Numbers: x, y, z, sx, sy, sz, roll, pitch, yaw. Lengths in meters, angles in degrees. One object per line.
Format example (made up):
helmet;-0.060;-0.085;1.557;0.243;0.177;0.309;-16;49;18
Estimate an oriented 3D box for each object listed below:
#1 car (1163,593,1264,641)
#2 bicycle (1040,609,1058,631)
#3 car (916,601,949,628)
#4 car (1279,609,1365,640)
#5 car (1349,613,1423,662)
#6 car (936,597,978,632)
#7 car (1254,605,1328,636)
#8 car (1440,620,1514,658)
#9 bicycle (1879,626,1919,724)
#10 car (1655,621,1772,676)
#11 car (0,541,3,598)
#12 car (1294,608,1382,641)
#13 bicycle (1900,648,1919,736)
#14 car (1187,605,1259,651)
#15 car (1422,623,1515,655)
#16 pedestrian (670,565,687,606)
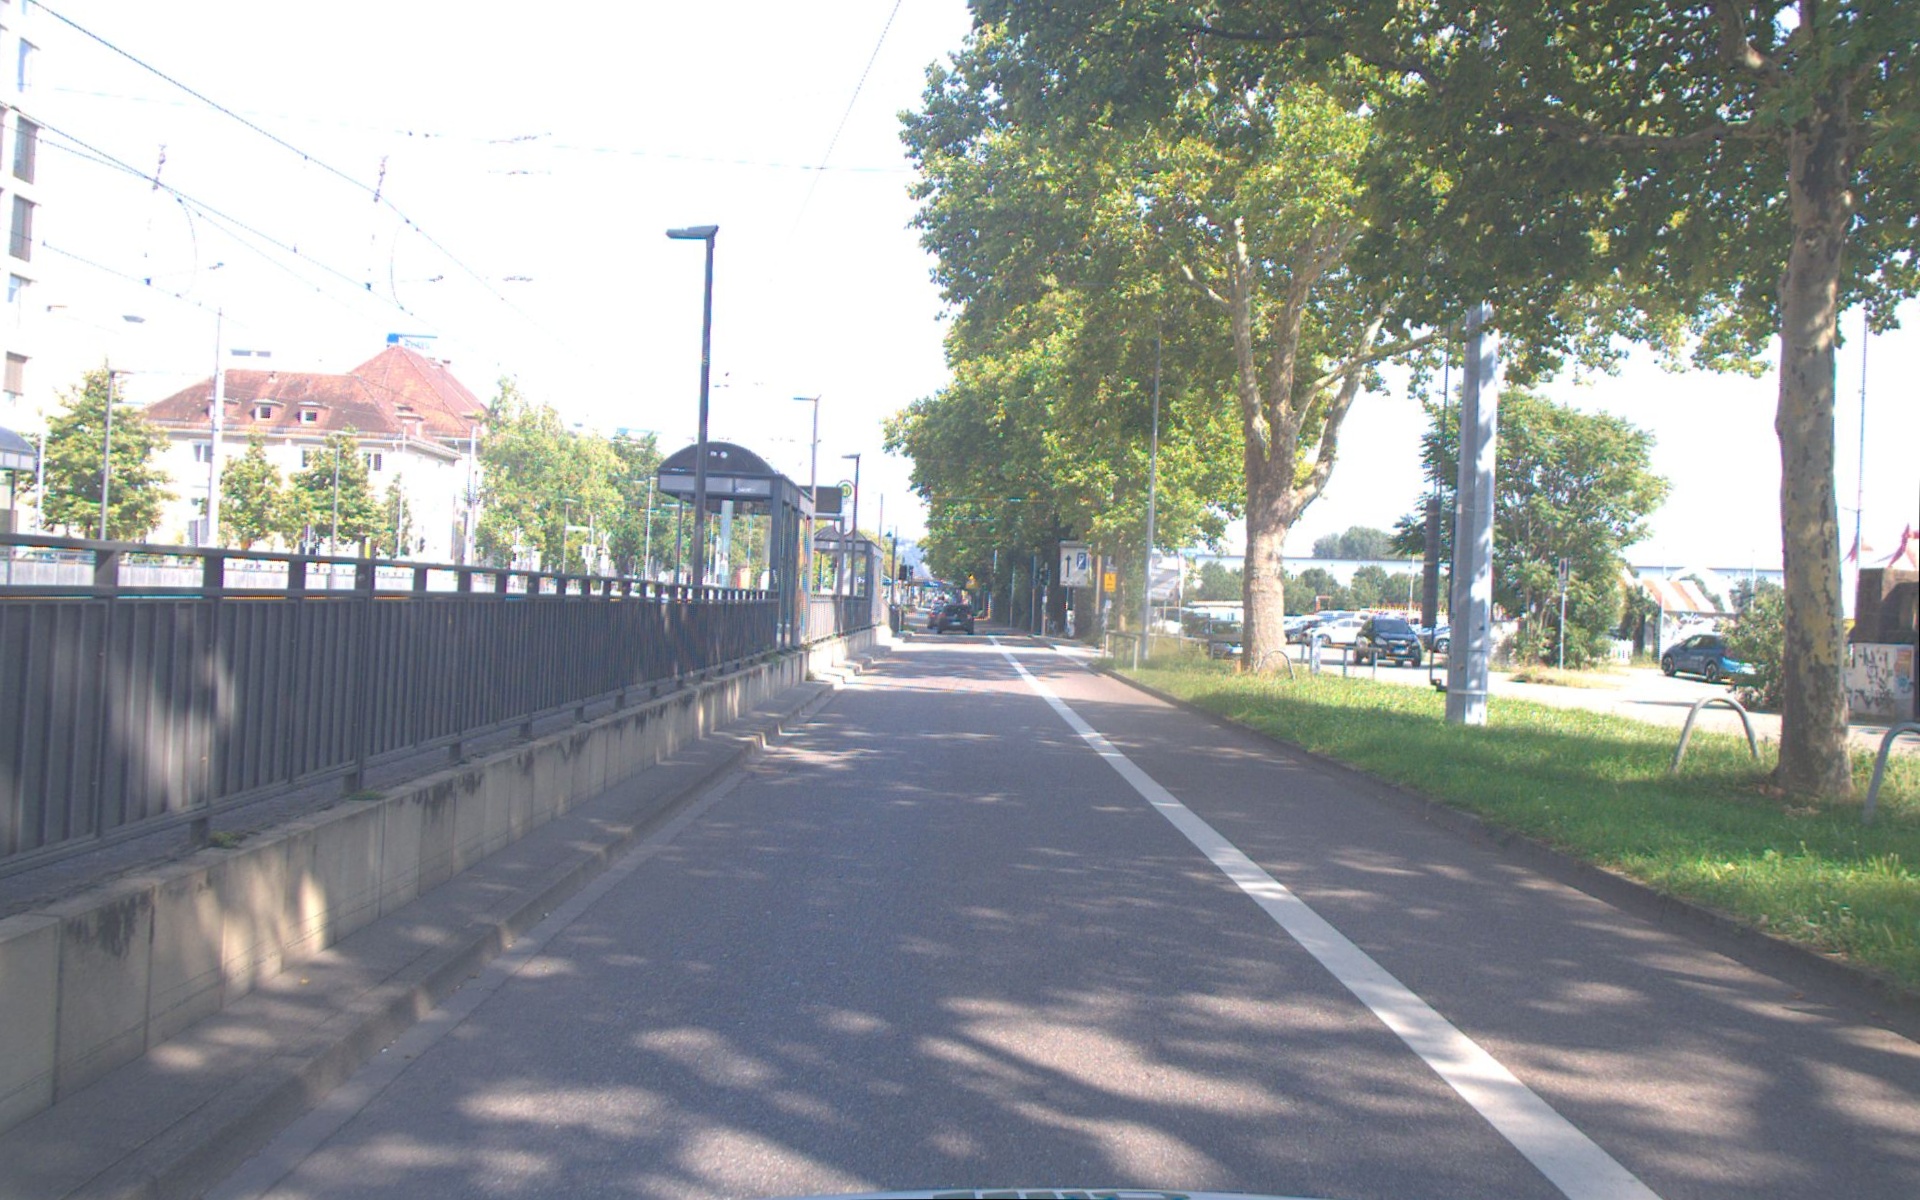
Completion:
car;10.751;0.724;70.403;4.018;1.952;1.848;1;0;2
bicycle;4.600;1.023;85.737;0.598;1.039;2.400;3;0;-5
car;-1.675;0.853;98.753;1.933;1.564;3.999;-1;0;-2
car;20.199;1.353;92.380;4.257;1.489;1.946;3;0;-3
car;14.969;1.286;58.291;1.575;1.603;3.796;1;0;-1
car;-0.175;0.673;79.152;1.869;1.564;3.999;1;0;-2
car;21.329;1.322;106.664;4.257;1.742;1.946;3;0;-3
car;22.125;1.650;70.938;1.777;1.420;4.116;3;0;-1
bicycle;13.850;1.011;22.451;2.199;1.299;0.998;0;-1;-2
car;25.025;1.584;55.064;1.671;1.603;3.952;3;0;-6
car;-25.369;-0.801;40.451;1.676;1.471;4.006;2;0;-2
car;20.342;1.299;89.106;4.257;1.489;1.946;3;0;-3
bicycle;13.191;1.169;20.940;2.128;1.095;0.743;0;0;3
car;9.013;0.930;56.988;1.693;1.474;4.550;1;0;-1
car;26.746;2.036;87.112;4.300;1.489;1.948;2;0;3
pedestrian;-12.813;-0.657;75.302;0.694;1.853;0.771;1;-1;-10
